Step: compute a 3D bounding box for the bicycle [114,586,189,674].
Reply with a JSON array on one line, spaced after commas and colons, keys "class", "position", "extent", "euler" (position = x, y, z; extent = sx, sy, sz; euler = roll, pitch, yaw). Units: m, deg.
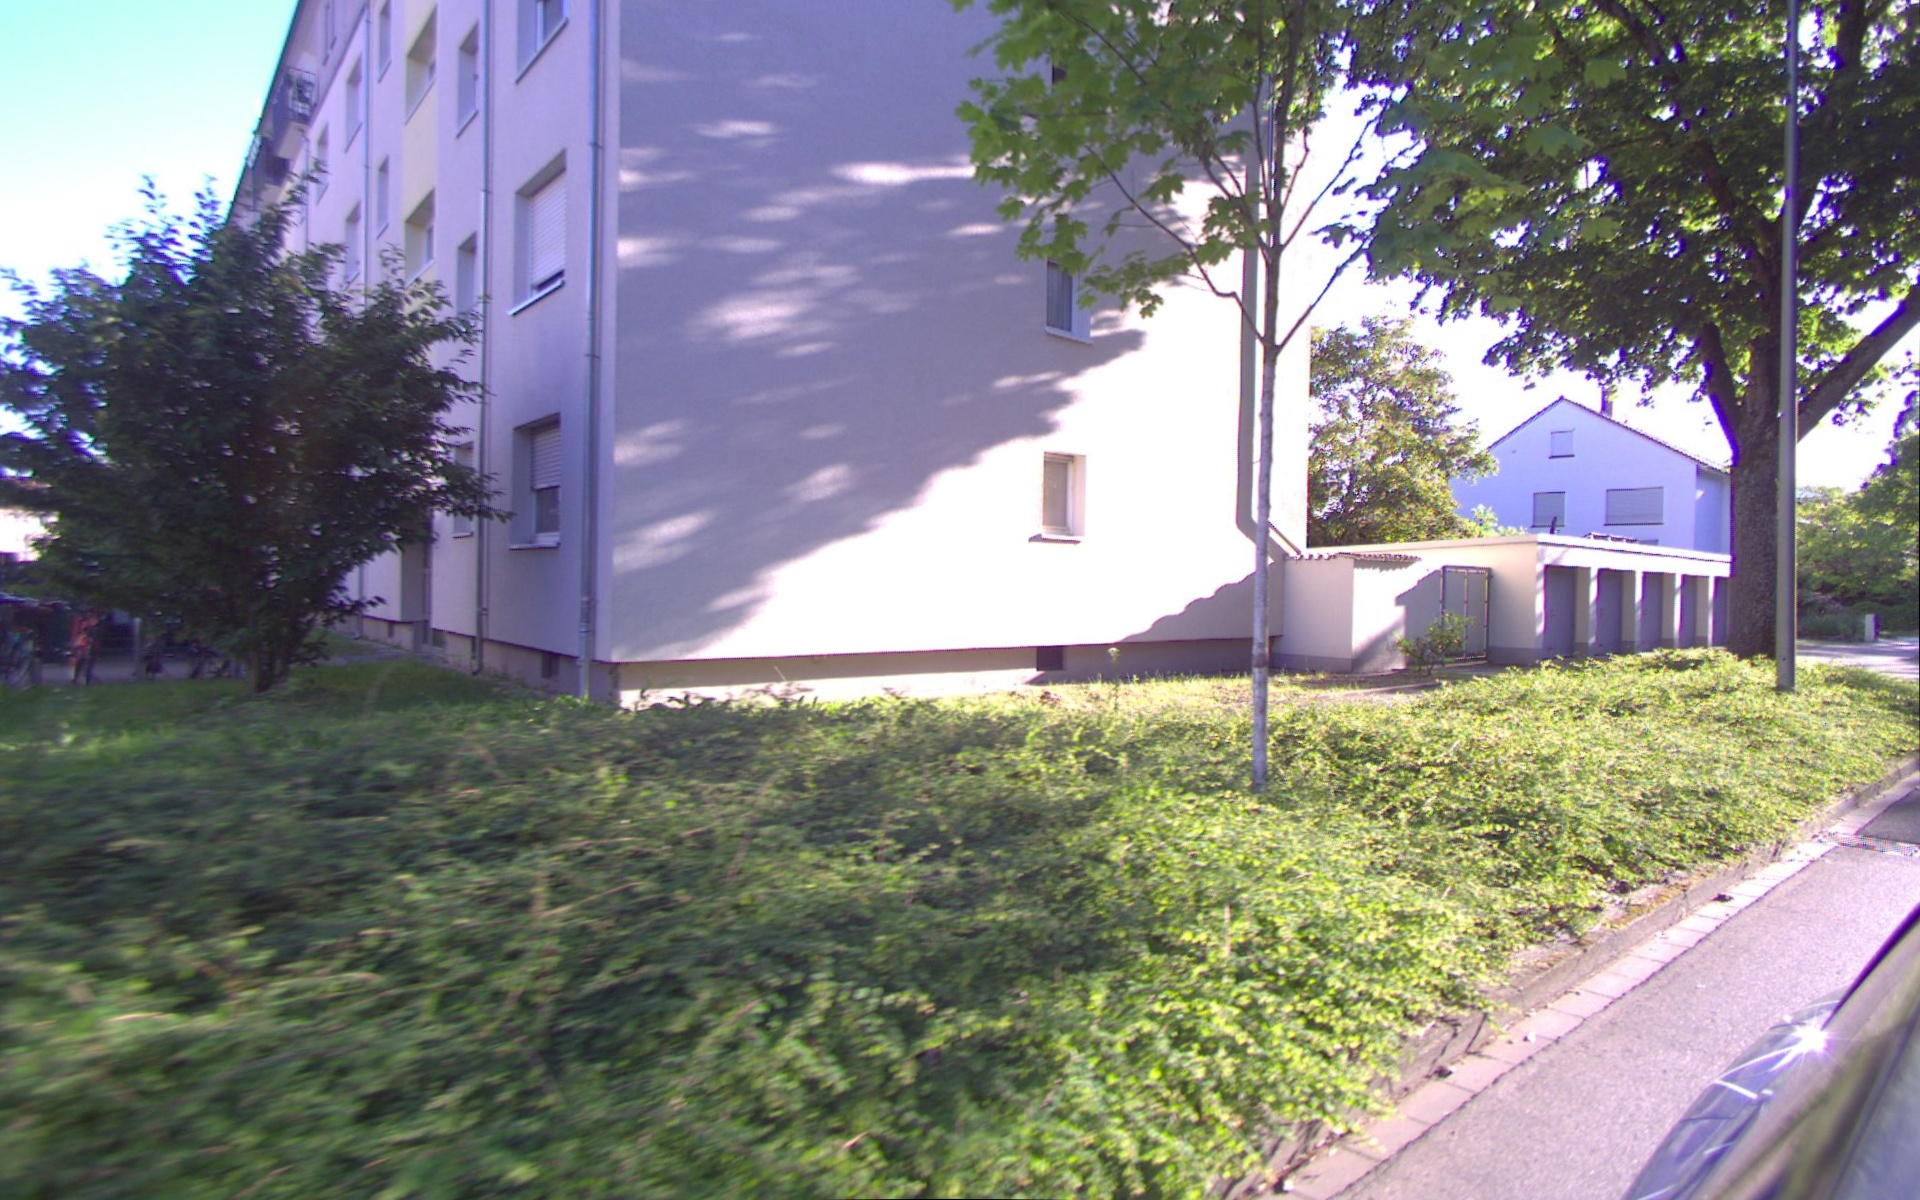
[{"class": "bicycle", "position": [-9.800, 0.325, 12.238], "extent": [0.536, 0.971, 1.971], "euler": [0, 1, -44]}]

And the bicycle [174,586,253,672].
[{"class": "bicycle", "position": [-9.207, 0.317, 12.457], "extent": [0.536, 0.971, 1.971], "euler": [0, 1, -44]}]

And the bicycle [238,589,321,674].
[{"class": "bicycle", "position": [-8.508, 0.358, 12.625], "extent": [0.536, 0.971, 1.971], "euler": [0, 1, -44]}]

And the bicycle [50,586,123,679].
[{"class": "bicycle", "position": [-10.013, 0.328, 11.583], "extent": [0.536, 0.971, 1.971], "euler": [0, 1, -44]}]

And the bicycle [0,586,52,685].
[{"class": "bicycle", "position": [-10.125, 0.345, 10.841], "extent": [0.536, 0.971, 1.903], "euler": [0, 1, -44]}]
